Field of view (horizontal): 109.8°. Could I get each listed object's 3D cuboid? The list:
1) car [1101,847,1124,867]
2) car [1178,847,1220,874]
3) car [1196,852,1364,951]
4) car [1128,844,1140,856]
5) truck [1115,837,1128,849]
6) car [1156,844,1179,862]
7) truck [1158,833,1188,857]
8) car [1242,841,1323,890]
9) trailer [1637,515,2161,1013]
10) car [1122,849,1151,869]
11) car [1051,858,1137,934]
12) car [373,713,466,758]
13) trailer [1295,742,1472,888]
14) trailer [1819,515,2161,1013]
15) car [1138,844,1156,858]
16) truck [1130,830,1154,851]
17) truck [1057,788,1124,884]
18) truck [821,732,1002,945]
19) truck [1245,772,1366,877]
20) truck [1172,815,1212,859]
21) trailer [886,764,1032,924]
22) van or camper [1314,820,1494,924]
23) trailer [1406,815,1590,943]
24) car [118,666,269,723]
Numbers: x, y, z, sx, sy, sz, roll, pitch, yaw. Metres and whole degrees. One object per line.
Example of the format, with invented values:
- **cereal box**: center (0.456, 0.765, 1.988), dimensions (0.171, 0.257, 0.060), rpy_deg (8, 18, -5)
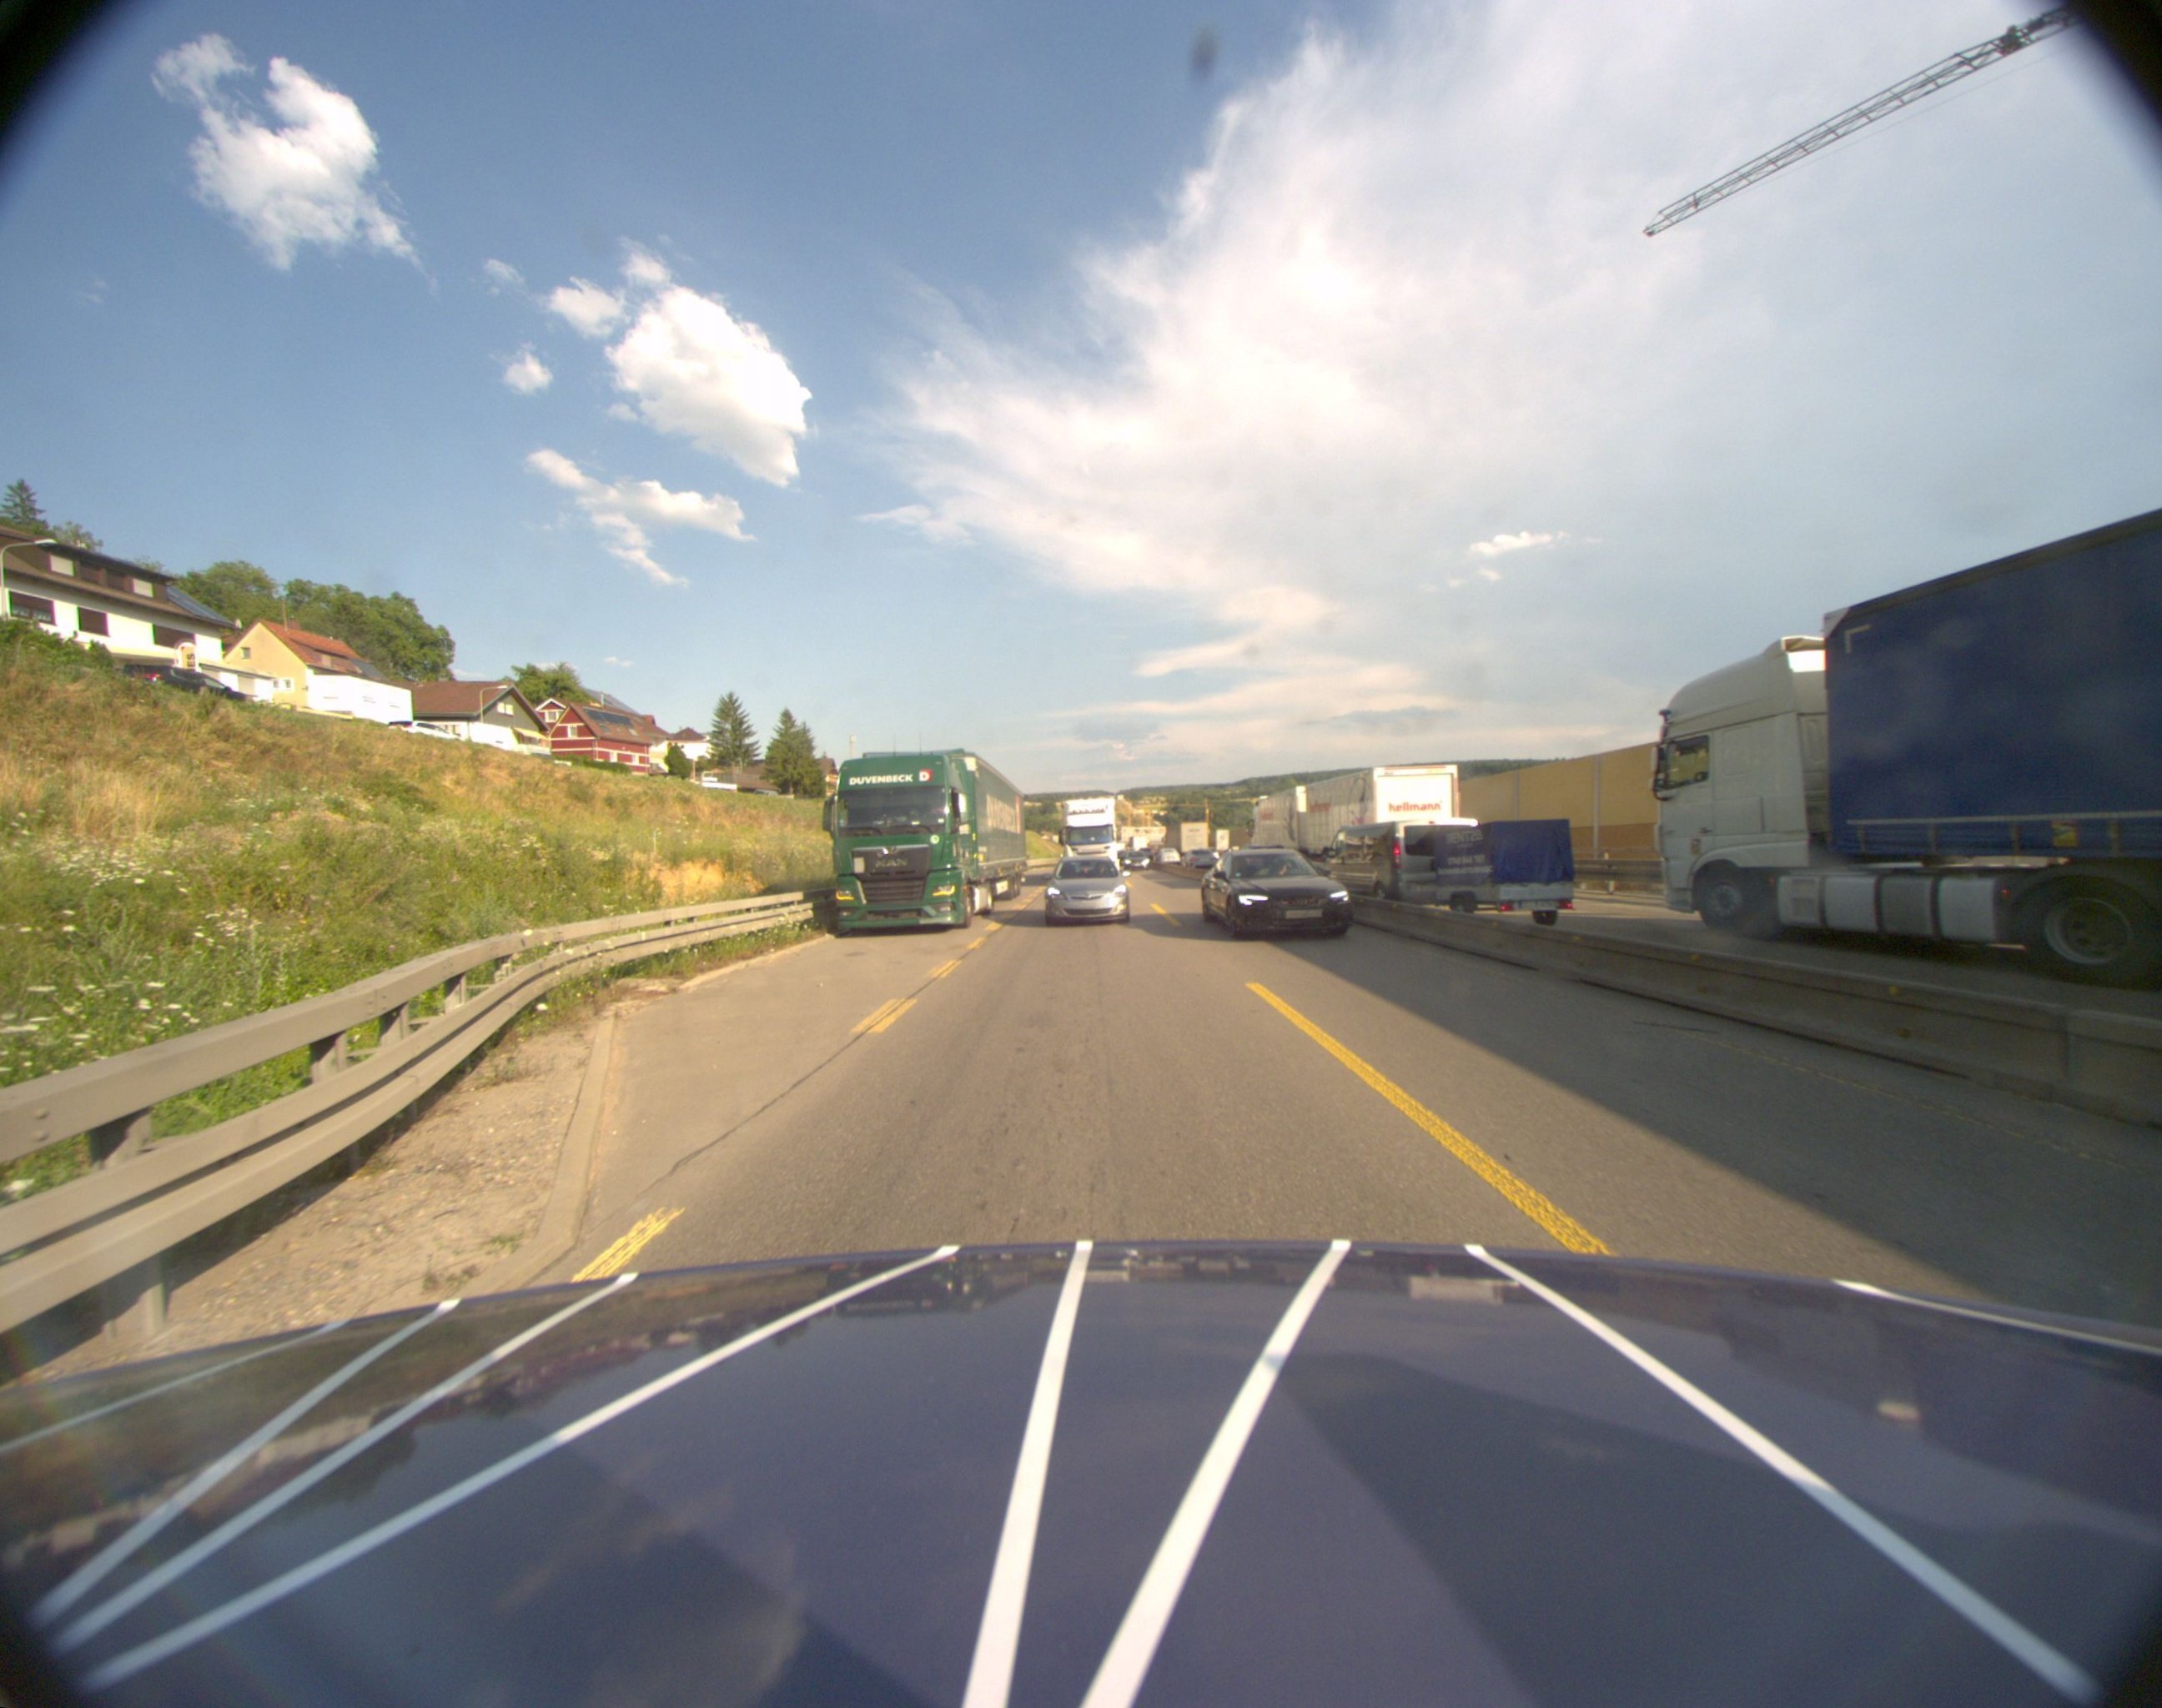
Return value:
- **car**: center (2.924, 0.281, 70.239), dimensions (1.998, 1.739, 4.000), rpy_deg (-1, 0, 1)
- **car**: center (7.104, 0.365, 46.113), dimensions (1.889, 1.499, 3.999), rpy_deg (-2, 1, 1)
- **car**: center (3.329, 0.716, 13.630), dimensions (1.873, 1.411, 4.348), rpy_deg (-2, 1, 1)
- **car**: center (8.536, -0.707, 122.699), dimensions (1.691, 1.825, 3.630), rpy_deg (-2, 1, 1)
- **truck**: center (12.947, -3.508, 242.819), dimensions (3.458, 3.476, 10.734), rpy_deg (-2, 1, 1)
- **car**: center (7.549, -0.091, 66.686), dimensions (1.624, 1.448, 3.232), rpy_deg (-2, 1, 0)
- **truck**: center (10.990, -1.054, 91.141), dimensions (2.694, 2.682, 7.358), rpy_deg (-2, 1, 1)
- **car**: center (7.159, 0.363, 27.370), dimensions (1.861, 1.565, 3.999), rpy_deg (-2, 1, 1)
- **trailer**: center (10.218, -0.801, 8.807), dimensions (2.933, 4.013, 6.222), rpy_deg (-2, 1, 0)
- **car**: center (3.927, 0.337, 54.684), dimensions (1.692, 1.293, 3.882), rpy_deg (-2, 1, -1)
- **car**: center (0.274, 0.840, 16.897), dimensions (1.671, 1.425, 3.524), rpy_deg (-1, 1, 1)
- **car**: center (-39.172, -7.010, 45.148), dimensions (1.999, 2.002, 3.999), rpy_deg (-2, 1, -1)
- **trailer**: center (10.332, -1.224, 27.242), dimensions (2.834, 4.258, 8.734), rpy_deg (-2, 1, 1)
- **trailer**: center (10.151, -0.721, 2.060), dimensions (2.933, 4.013, 13.772), rpy_deg (-2, 1, 0)
- **car**: center (7.986, -0.356, 91.726), dimensions (1.808, 1.652, 4.000), rpy_deg (-2, 1, 1)
- **truck**: center (11.915, -2.572, 149.020), dimensions (3.876, 3.766, 9.141), rpy_deg (-2, 1, 1)
- **truck**: center (0.543, -0.854, 39.182), dimensions (2.741, 4.033, 12.669), rpy_deg (-2, 1, 1)
- **truck**: center (-3.581, -0.325, 17.682), dimensions (2.547, 3.992, 6.071), rpy_deg (-2, 1, 1)
- **truck**: center (10.454, -1.272, 36.659), dimensions (2.834, 4.239, 10.071), rpy_deg (-2, 1, 1)
- **truck**: center (11.061, -1.670, 76.364), dimensions (2.873, 4.038, 7.598), rpy_deg (-2, 1, 1)
- **trailer**: center (-3.444, -0.315, 25.077), dimensions (2.554, 3.911, 12.077), rpy_deg (-2, 1, 1)
- **van or camper**: center (6.845, 0.314, 16.805), dimensions (1.868, 1.881, 5.003), rpy_deg (-2, 1, 1)
- **trailer**: center (6.849, 0.359, 12.805), dimensions (1.452, 1.843, 2.984), rpy_deg (-2, 1, 1)
- **car**: center (-37.853, -6.768, 32.600), dimensions (2.000, 1.631, 3.997), rpy_deg (-2, 1, -8)
